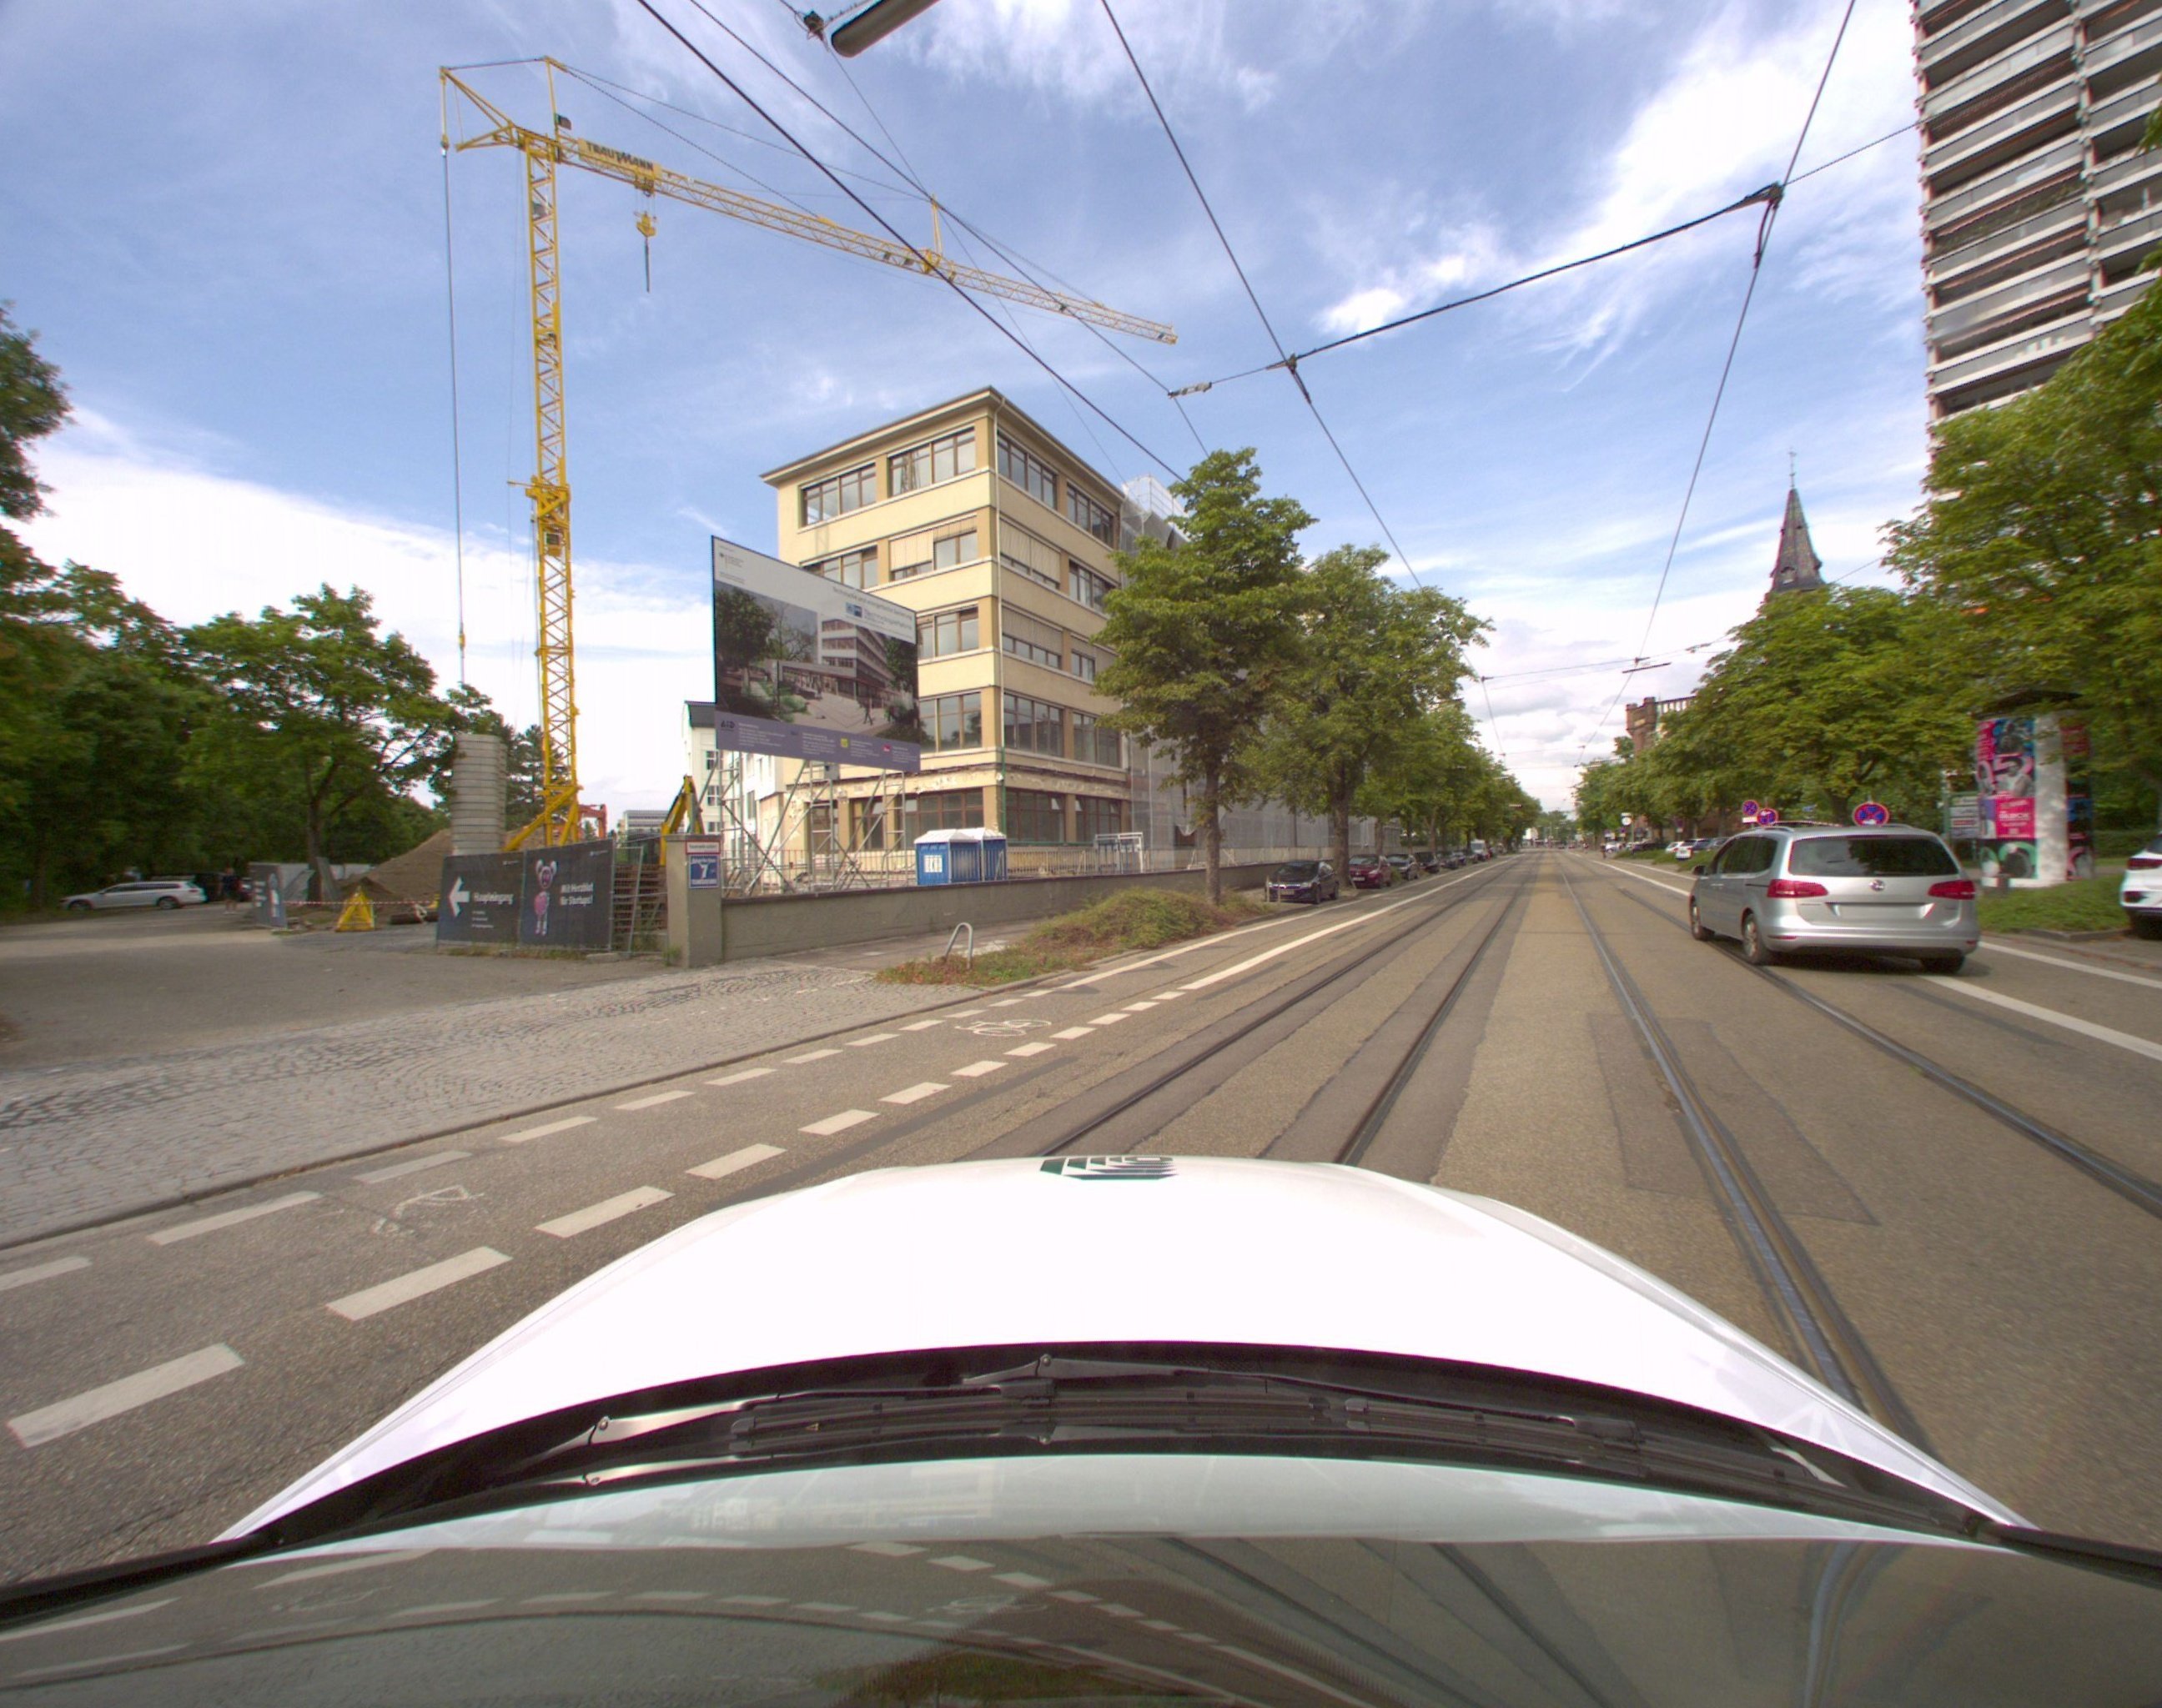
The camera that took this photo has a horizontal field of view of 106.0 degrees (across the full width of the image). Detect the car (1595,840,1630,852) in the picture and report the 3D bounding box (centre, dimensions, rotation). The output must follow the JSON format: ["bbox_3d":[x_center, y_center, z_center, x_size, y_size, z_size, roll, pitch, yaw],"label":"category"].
[{"bbox_3d":[76.997,-1.131,117.989,3.951,1.693,2.011,-2,0,24],"label":"car"}]

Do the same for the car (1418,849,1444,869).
[{"bbox_3d":[26.994,0.372,62.776,1.575,1.402,3.986,-1,0,27],"label":"car"}]

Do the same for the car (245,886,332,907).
[{"bbox_3d":[-64.161,3.430,66.052,4.832,1.488,1.977,-1,-1,-39],"label":"car"}]

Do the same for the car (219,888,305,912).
[{"bbox_3d":[-61.066,3.383,60.810,4.370,1.543,1.733,-1,-1,-39],"label":"car"}]

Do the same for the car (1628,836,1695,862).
[{"bbox_3d":[38.396,-0.309,53.873,3.643,1.602,1.673,-1,-1,-17],"label":"car"}]

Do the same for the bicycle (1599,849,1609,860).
[{"bbox_3d":[54.380,0.057,84.696,0.587,1.043,1.990,-2,0,27],"label":"bicycle"}]

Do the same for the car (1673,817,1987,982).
[{"bbox_3d":[9.550,0.465,10.908,1.795,1.701,4.644,-2,0,26],"label":"car"}]

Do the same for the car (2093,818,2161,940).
[{"bbox_3d":[15.940,0.282,10.932,3.643,1.602,1.673,-1,-1,-17],"label":"car"}]

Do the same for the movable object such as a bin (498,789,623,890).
[{"bbox_3d":[-37.649,-0.906,59.590,3.846,6.669,10.945,-1,-1,-11],"label":"movable object such as a bin"}]

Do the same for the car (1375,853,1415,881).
[{"bbox_3d":[17.183,0.675,44.523,1.575,1.402,3.986,-1,0,27],"label":"car"}]

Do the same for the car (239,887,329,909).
[{"bbox_3d":[-62.369,3.413,63.871,4.832,1.488,1.977,-1,-1,-39],"label":"car"}]

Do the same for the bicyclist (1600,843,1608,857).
[{"bbox_3d":[54.370,-0.457,84.698,0.587,1.459,0.880,-2,0,27],"label":"bicyclist"}]

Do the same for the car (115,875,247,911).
[{"bbox_3d":[-54.864,2.343,49.814,5.084,1.953,1.978,-1,-1,-35],"label":"car"}]

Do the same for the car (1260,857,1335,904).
[{"bbox_3d":[7.324,0.840,27.286,1.575,1.402,3.986,-1,0,27],"label":"car"}]

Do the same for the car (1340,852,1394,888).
[{"bbox_3d":[12.834,0.679,36.434,1.620,1.496,3.987,-1,0,28],"label":"car"}]

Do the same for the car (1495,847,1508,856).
[{"bbox_3d":[67.278,-0.476,130.299,1.575,1.402,3.572,-1,0,29],"label":"car"}]

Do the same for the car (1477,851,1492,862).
[{"bbox_3d":[50.949,0.297,102.754,1.575,1.402,3.986,-1,0,27],"label":"car"}]

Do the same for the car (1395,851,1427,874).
[{"bbox_3d":[21.814,0.547,53.799,1.575,1.402,3.986,-1,0,27],"label":"car"}]

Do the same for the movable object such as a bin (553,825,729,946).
[{"bbox_3d":[-9.956,0.664,18.405,3.021,2.443,2.513,-2,-1,39],"label":"movable object such as a bin"}]

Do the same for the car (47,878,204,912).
[{"bbox_3d":[-47.797,2.016,40.916,4.832,1.488,1.977,-1,-1,-39],"label":"car"}]

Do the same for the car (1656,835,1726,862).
[{"bbox_3d":[38.526,-0.332,51.458,3.643,1.602,1.673,-1,-1,-17],"label":"car"}]

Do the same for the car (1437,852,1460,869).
[{"bbox_3d":[32.314,0.533,71.586,1.575,1.402,3.986,-1,0,27],"label":"car"}]

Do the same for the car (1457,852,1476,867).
[{"bbox_3d":[37.838,0.497,79.929,1.575,1.402,3.986,-1,0,27],"label":"car"}]

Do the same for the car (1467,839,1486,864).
[{"bbox_3d":[44.665,-0.272,91.875,1.704,2.704,5.503,-1,0,27],"label":"car"}]

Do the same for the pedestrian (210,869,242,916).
[{"bbox_3d":[-33.376,1.489,31.794,0.754,1.790,0.722,-1,-1,-39],"label":"pedestrian"}]
